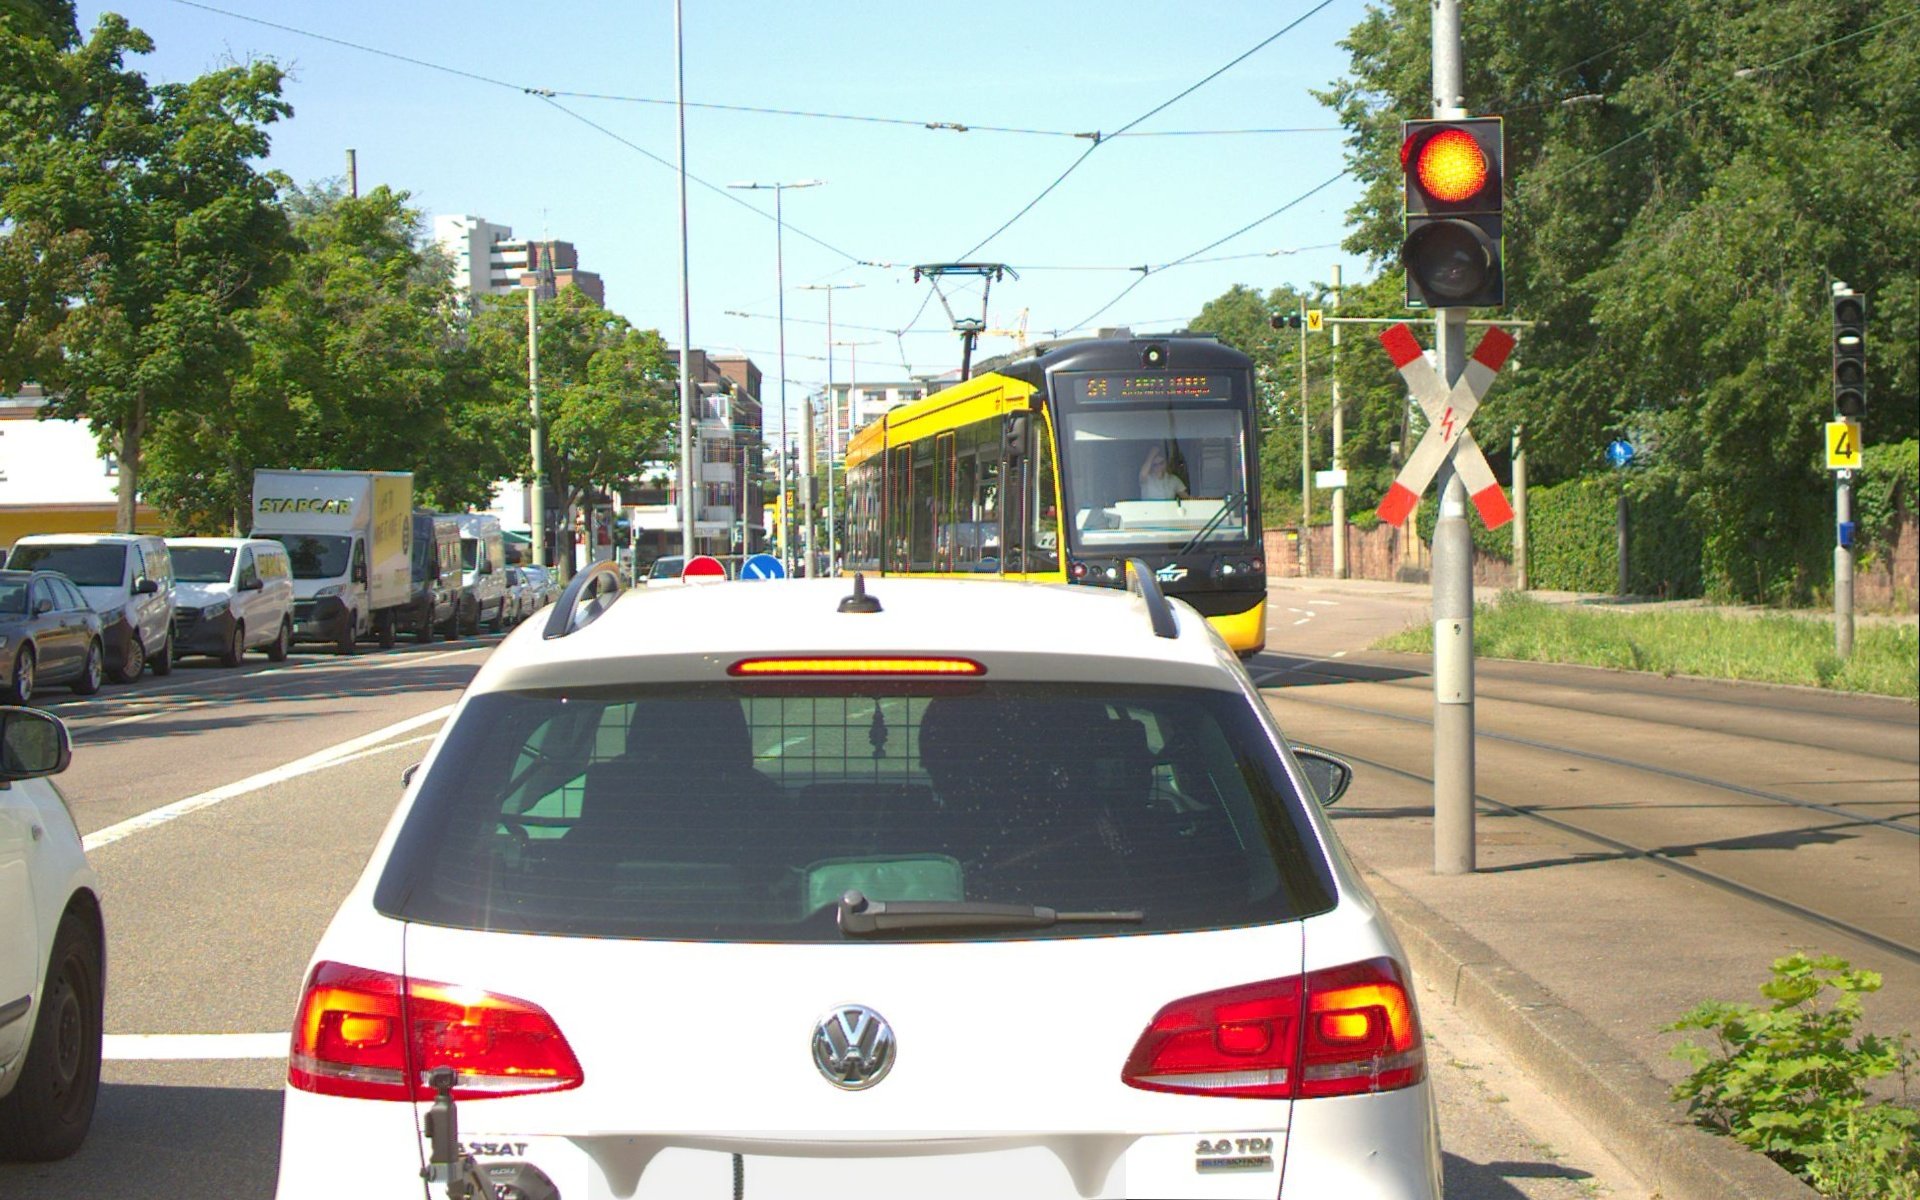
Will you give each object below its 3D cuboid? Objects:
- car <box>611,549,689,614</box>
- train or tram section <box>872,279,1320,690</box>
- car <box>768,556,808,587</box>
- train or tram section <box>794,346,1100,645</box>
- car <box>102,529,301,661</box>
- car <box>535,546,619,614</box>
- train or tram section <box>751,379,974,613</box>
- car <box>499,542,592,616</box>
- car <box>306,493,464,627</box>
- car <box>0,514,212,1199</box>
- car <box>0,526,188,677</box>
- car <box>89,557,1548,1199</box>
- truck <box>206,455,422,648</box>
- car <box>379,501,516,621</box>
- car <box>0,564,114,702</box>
[{"bbox_3d":[-7.935,-0.502,88.176,1.676,1.548,3.580,-3,1,-1],"label":"car"},{"bbox_3d":[1.152,-1.208,38.819,2.870,3.842,12.394,-1,1,-8],"label":"train or tram section"},{"bbox_3d":[-8.668,-1.457,173.533,1.705,1.468,4.589,-1,1,1],"label":"car"},{"bbox_3d":[-0.457,-1.468,50.994,2.870,3.842,12.394,-1,1,-8],"label":"train or tram section"},{"bbox_3d":[-11.370,-0.125,51.906,1.863,1.861,5.414,1,1,-1],"label":"car"},{"bbox_3d":[-10.944,-0.602,98.605,1.863,1.861,5.414,1,1,-1],"label":"car"},{"bbox_3d":[-1.934,-1.820,62.390,2.870,3.842,10.541,-1,1,-8],"label":"train or tram section"},{"bbox_3d":[-11.021,-0.588,91.688,1.863,1.861,5.414,1,1,-1],"label":"car"},{"bbox_3d":[-11.359,-0.810,68.322,2.123,2.508,5.733,1,1,0],"label":"car"},{"bbox_3d":[-2.944,0.588,7.364,1.662,1.542,4.547,0,1,0],"label":"car"},{"bbox_3d":[-11.444,-0.031,45.318,1.863,1.861,5.075,1,1,-6],"label":"car"},{"bbox_3d":[-0.184,0.671,6.202,1.762,1.425,4.000,-1,1,-1],"label":"car"},{"bbox_3d":[-11.229,-0.869,60.320,2.421,3.139,6.997,1,1,0],"label":"truck"},{"bbox_3d":[-11.233,-0.880,75.758,2.123,2.508,5.733,1,1,0],"label":"car"},{"bbox_3d":[-10.978,0.326,38.785,1.863,1.411,4.280,1,1,-1],"label":"car"}]
